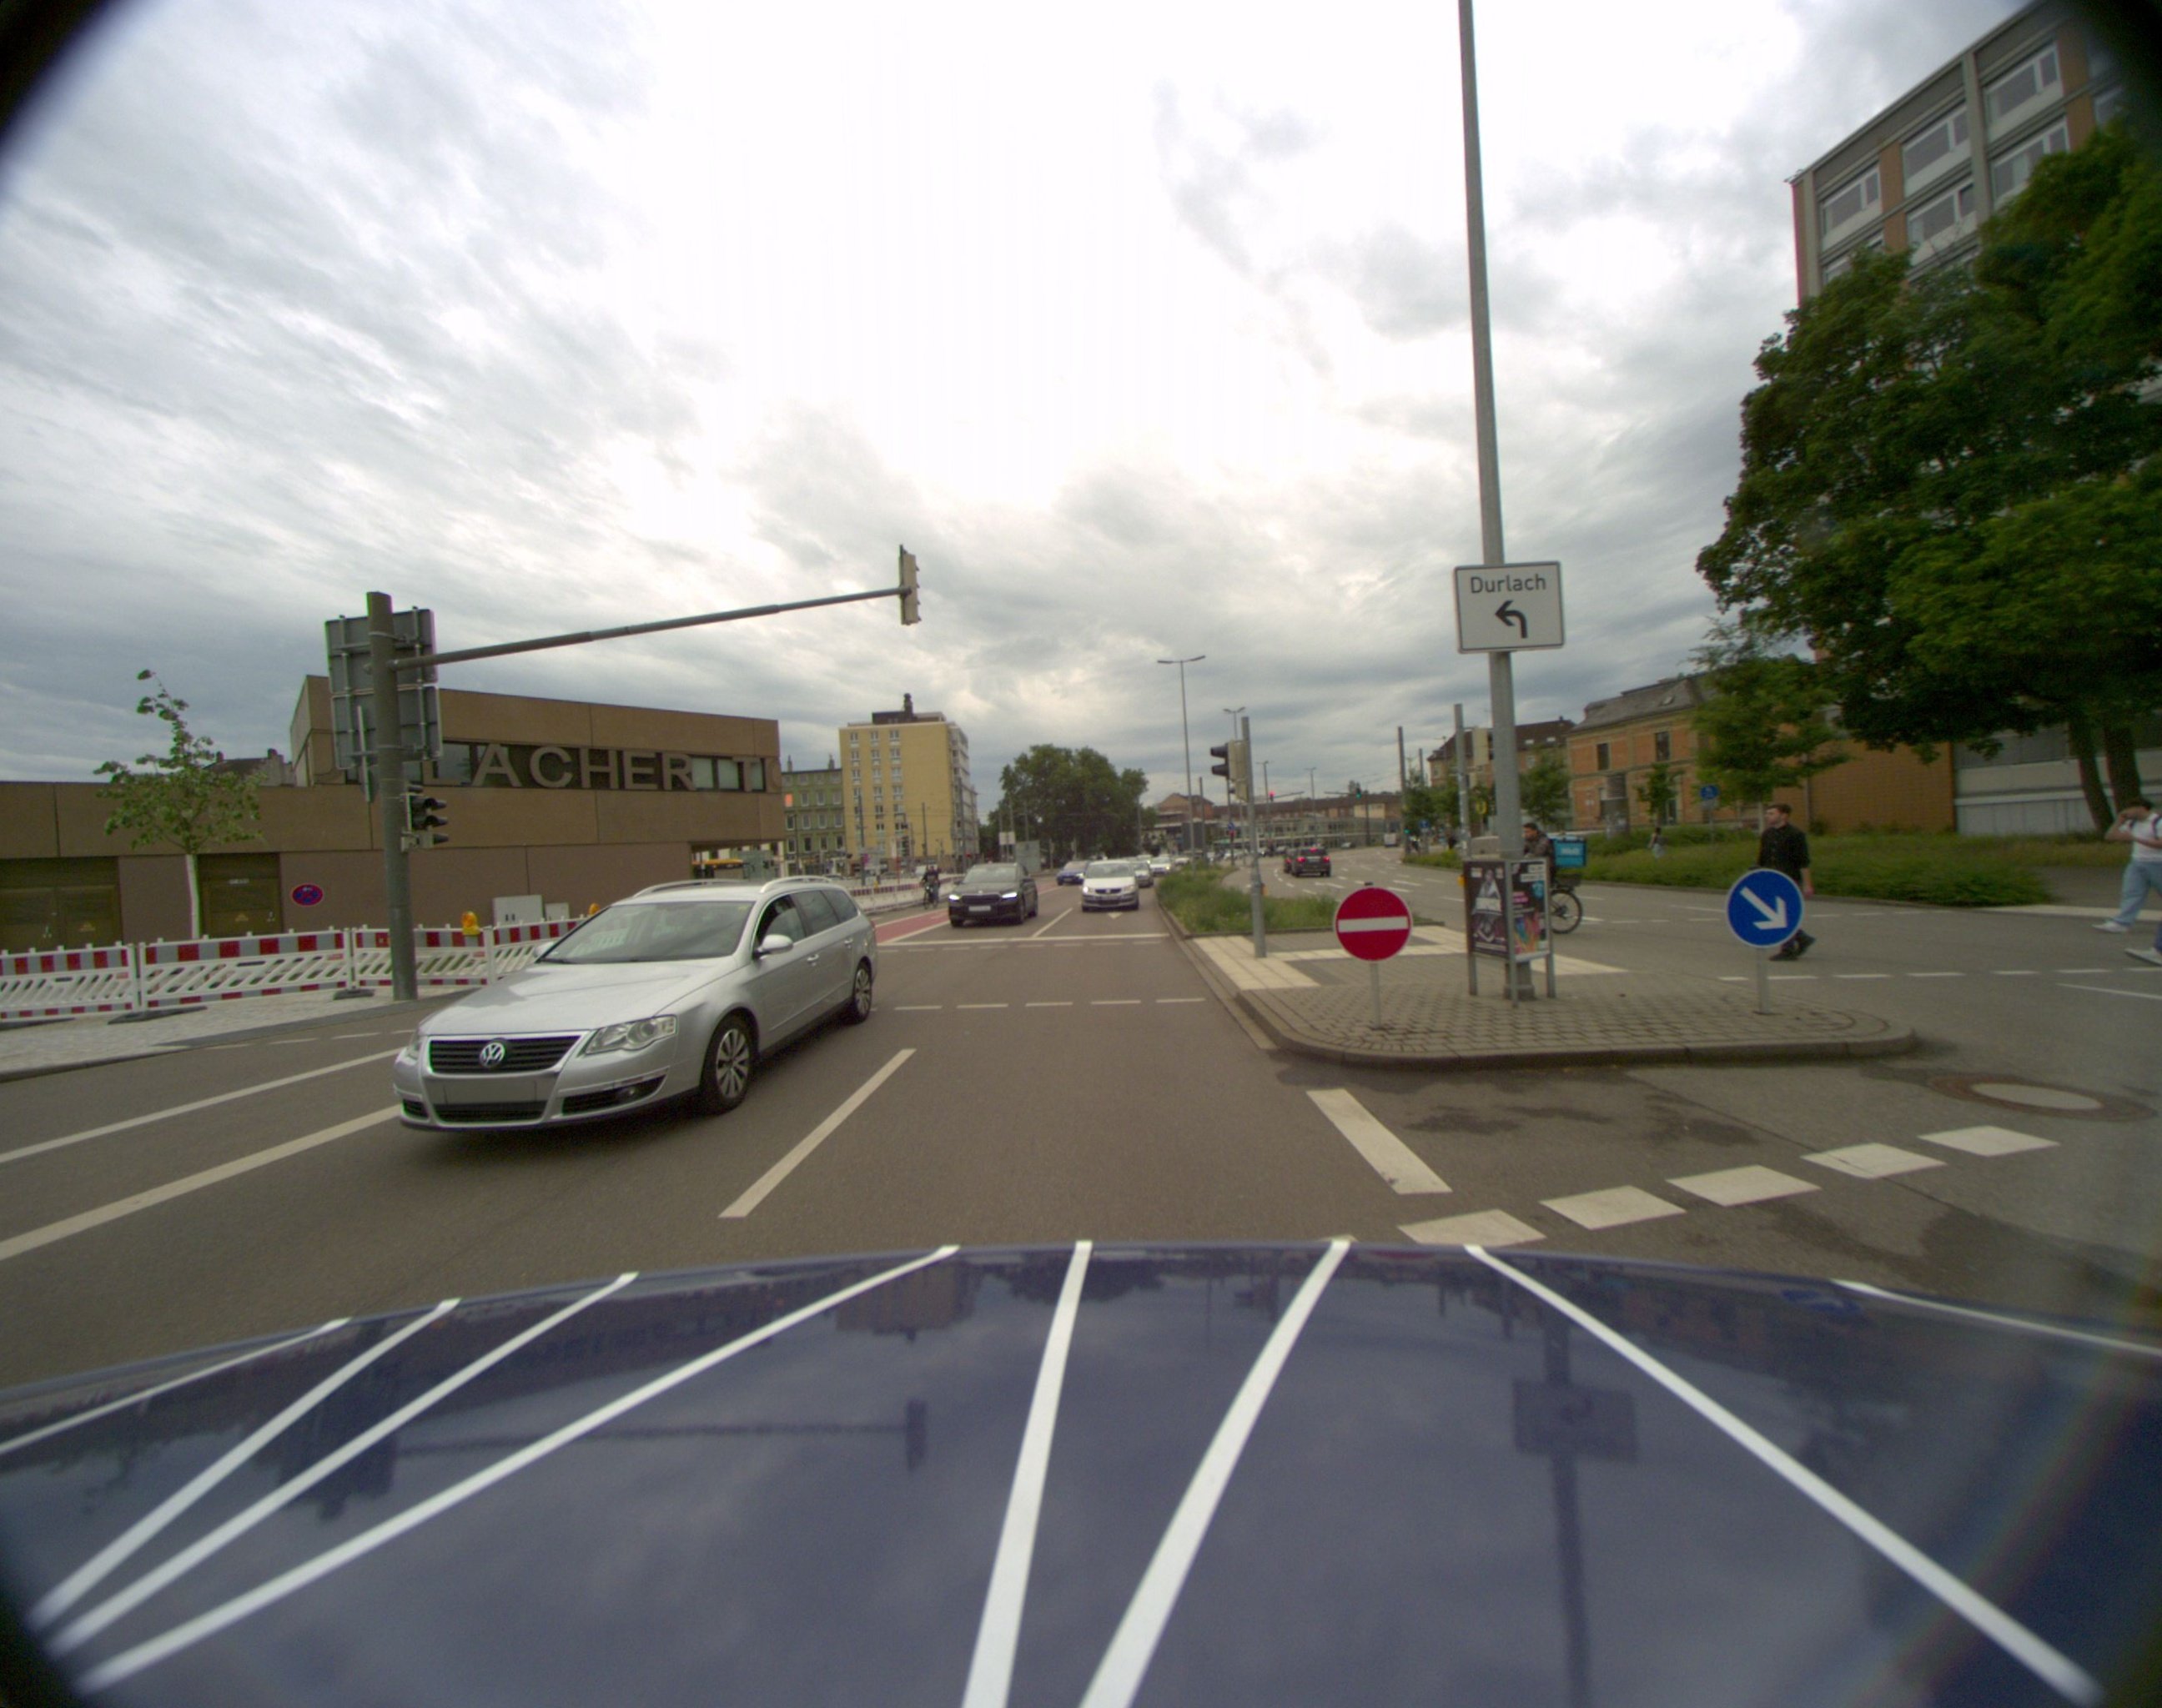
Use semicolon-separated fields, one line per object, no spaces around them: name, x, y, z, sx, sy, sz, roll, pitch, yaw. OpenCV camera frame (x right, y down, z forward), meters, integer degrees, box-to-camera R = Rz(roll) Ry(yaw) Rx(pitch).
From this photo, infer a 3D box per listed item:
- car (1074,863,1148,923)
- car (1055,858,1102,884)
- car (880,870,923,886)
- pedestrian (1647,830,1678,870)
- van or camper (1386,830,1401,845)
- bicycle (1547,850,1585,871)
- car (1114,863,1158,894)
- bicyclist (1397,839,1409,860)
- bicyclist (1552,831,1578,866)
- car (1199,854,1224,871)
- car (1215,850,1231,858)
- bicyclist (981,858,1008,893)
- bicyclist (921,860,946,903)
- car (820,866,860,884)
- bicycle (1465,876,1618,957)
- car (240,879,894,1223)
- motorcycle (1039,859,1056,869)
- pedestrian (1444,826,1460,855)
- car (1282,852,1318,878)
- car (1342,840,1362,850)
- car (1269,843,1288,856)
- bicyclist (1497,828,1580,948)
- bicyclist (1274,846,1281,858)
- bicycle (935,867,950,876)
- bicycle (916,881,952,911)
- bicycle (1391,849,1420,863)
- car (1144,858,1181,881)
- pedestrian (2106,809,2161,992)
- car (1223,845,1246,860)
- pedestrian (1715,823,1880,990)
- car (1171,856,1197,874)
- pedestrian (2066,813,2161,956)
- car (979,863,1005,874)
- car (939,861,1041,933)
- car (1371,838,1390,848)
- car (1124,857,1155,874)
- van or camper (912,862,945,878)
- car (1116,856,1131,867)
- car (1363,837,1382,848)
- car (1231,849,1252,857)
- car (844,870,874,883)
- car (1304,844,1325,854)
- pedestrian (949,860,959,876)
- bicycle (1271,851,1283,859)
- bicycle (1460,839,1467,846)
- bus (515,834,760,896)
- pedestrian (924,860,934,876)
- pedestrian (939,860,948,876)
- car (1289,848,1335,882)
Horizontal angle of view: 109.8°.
car;1.095;1.191;24.753;1.862;1.609;5.065;-3;0;7
car;-0.095;1.022;47.362;1.768;1.428;4.761;-3;0;13
car;-21.016;2.793;89.239;4.441;1.477;2.000;-3;0;2
pedestrian;23.508;-0.151;30.717;0.562;1.532;0.755;-6;0;8
van or camper;56.630;-3.008;137.595;2.281;2.513;5.582;-2;0;25
bicycle;22.108;0.272;34.681;0.716;0.877;1.884;-4;0;8
car;2.977;1.246;40.454;1.808;1.398;3.986;-3;0;11
bicyclist;26.390;-0.401;62.233;0.813;1.647;0.795;-4;1;22
bicyclist;22.068;-0.254;34.641;0.716;1.561;0.712;-4;1;8
car;17.743;1.129;103.311;1.995;2.002;4.007;-3;0;29
car;29.183;-0.047;156.345;1.792;1.551;4.030;-3;0;-13
bicyclist;-4.251;1.055;37.354;0.789;1.608;0.935;-5;0;27
bicyclist;-5.941;1.095;30.630;0.616;1.680;0.806;-3;0;11
car;-28.493;2.473;89.903;3.996;1.739;2.000;-3;0;2
bicycle;7.355;0.989;12.228;1.904;1.152;0.792;-3;0;9
car;-3.076;1.042;5.984;1.724;1.473;4.630;-2;0;4
motorcycle;-4.898;1.510;112.082;2.293;1.358;1.046;-3;0;-10
pedestrian;25.275;-0.917;51.744;0.820;1.969;0.659;-3;0;17
car;13.655;0.645;47.606;1.873;1.499;4.483;-1;0;13
car;58.621;-2.016;164.513;2.368;1.899;5.139;-3;0;40
car;34.654;-0.796;133.033;1.995;2.002;4.007;-3;0;32
bicyclist;7.342;0.534;12.234;0.832;1.833;0.793;-3;0;10
bicyclist;28.283;-0.318;109.420;0.655;1.629;0.517;-3;0;-8
bicycle;-20.407;2.583;112.037;2.039;1.162;0.669;-3;0;-4
bicycle;-5.898;1.662;30.653;0.626;1.049;2.127;-3;0;10
bicycle;26.561;0.154;62.190;2.115;1.023;0.796;-3;2;21
car;6.158;1.139;57.024;1.970;1.447;4.198;-3;0;16
pedestrian;11.278;0.451;7.641;0.894;1.831;0.668;-3;0;9
car;22.772;-0.187;112.373;1.995;2.002;4.007;-3;0;32
pedestrian;8.396;0.591;8.957;1.050;1.831;0.866;-3;0;9
car;12.436;1.275;91.356;1.996;2.002;4.006;-3;0;22
pedestrian;13.982;0.380;10.095;0.758;1.831;0.767;-2;1;9
car;-14.415;2.352;122.698;3.999;1.455;1.999;-3;0;-8
car;-2.342;1.078;20.859;1.907;1.648;4.516;-3;0;4
car;70.422;-2.543;178.554;2.368;2.010;5.139;-3;0;40
car;5.695;1.098;73.374;1.996;1.499;4.005;-3;0;18
van or camper;-20.947;2.208;103.997;2.176;1.967;5.453;-3;0;-37
car;9.130;1.584;161.779;1.953;1.589;4.231;-3;6;19
car;66.541;-2.671;173.586;2.368;2.121;5.139;-3;0;40
car;33.058;-0.199;156.735;3.899;1.432;1.735;-4;0;21
car;-29.980;3.018;102.481;3.728;1.573;1.895;-3;0;35
car;45.405;-0.979;147.836;2.368;1.744;5.139;-3;0;34
pedestrian;-13.723;1.525;82.242;0.785;1.593;0.895;-4;1;-24
bicycle;28.219;0.211;109.457;1.614;1.063;0.527;-3;0;-8
bicycle;62.829;-1.904;124.796;0.835;1.024;2.401;-3;0;31
bus;-27.825;0.553;48.714;3.018;3.248;13.066;-3;0;44
pedestrian;-15.338;1.406;76.740;0.785;1.634;0.902;-4;1;-24
pedestrian;-15.620;1.549;86.178;0.789;1.747;1.047;-3;0;-22
car;12.590;0.562;41.737;1.874;1.715;4.716;-2;0;11
